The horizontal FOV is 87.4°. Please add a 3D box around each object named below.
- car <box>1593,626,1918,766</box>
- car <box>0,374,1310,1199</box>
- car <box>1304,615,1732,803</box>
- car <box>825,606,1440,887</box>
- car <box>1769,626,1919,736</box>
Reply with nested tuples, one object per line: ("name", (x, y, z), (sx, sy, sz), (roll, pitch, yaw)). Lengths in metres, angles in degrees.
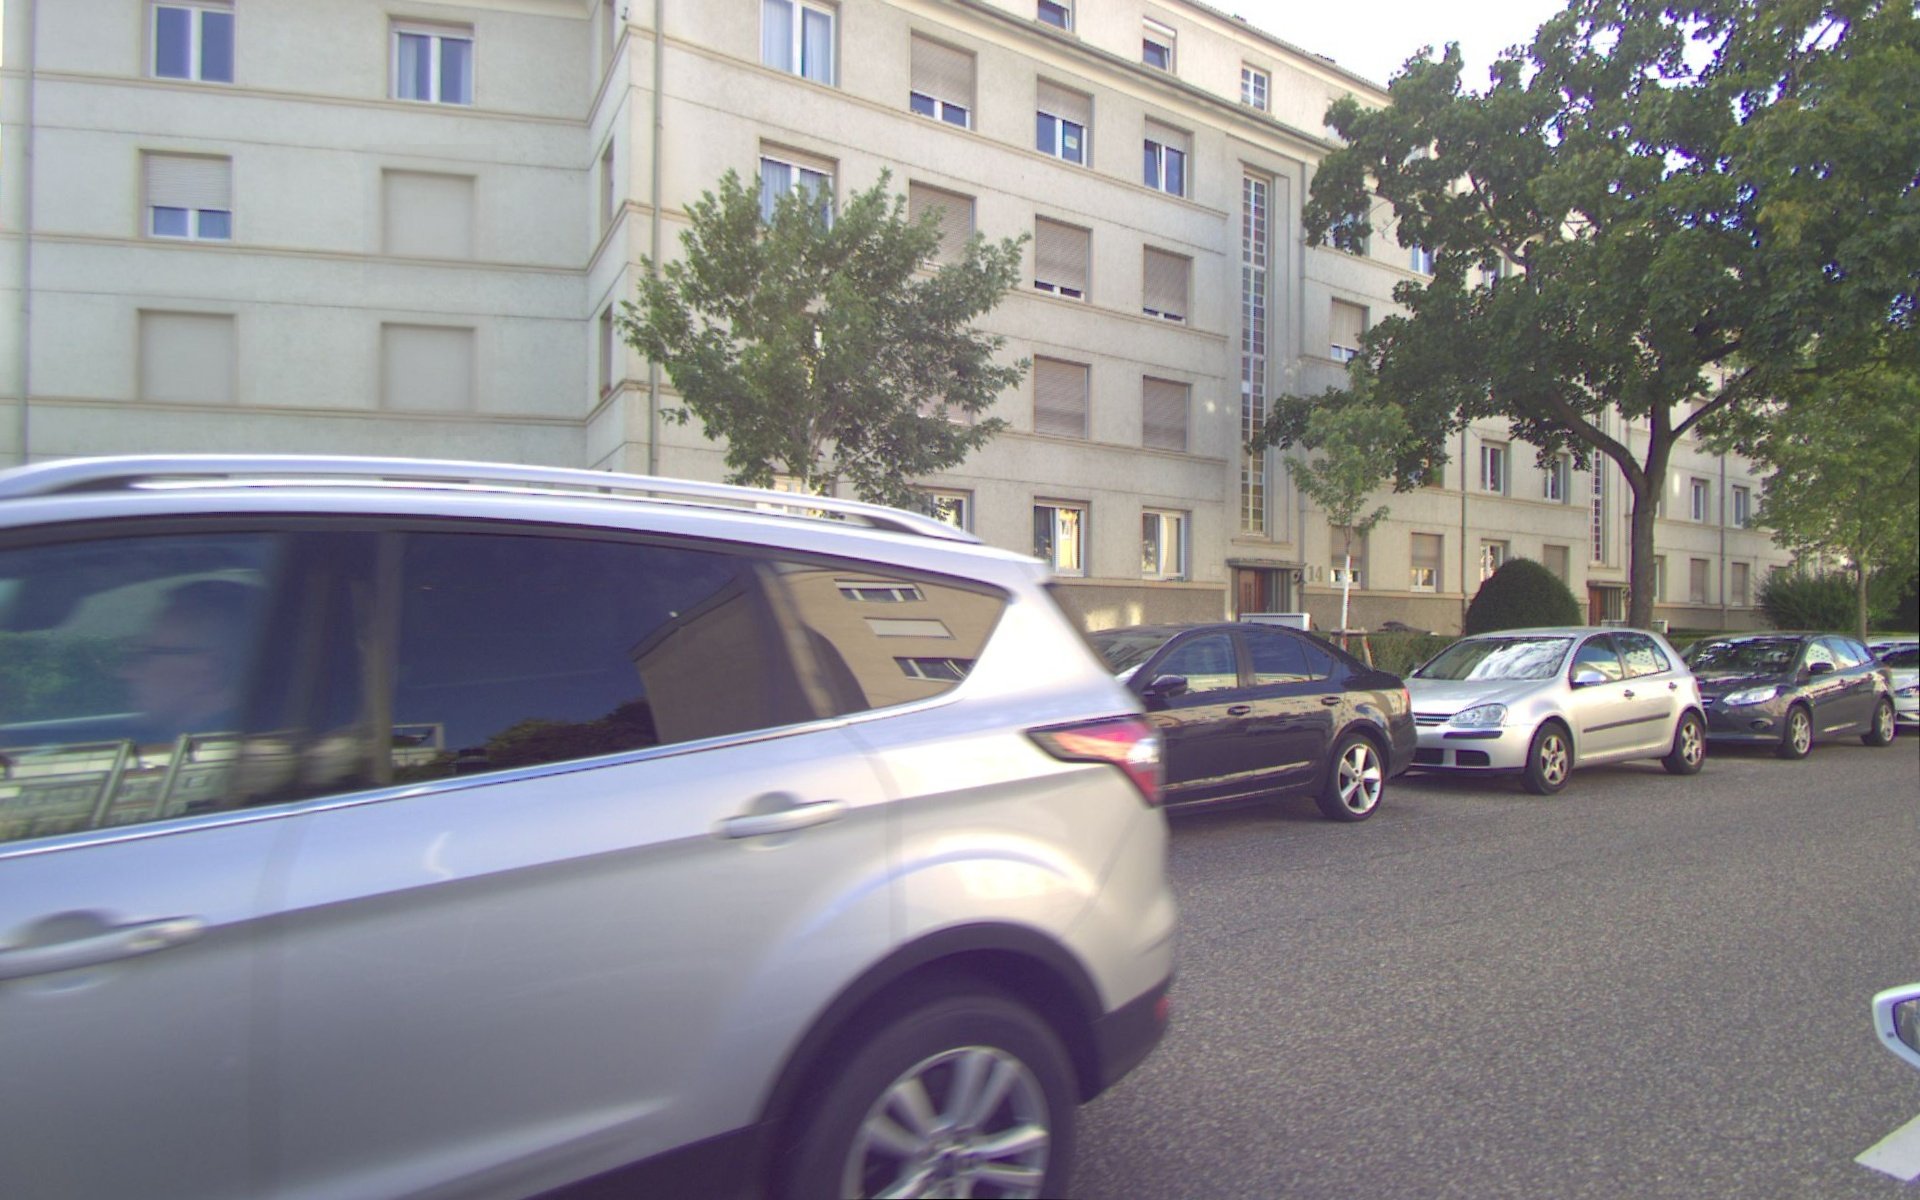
("car", (10.309, 1.103, 12.928), (4.631, 1.505, 1.845), (1, -1, -32))
("car", (-1.363, 0.557, 2.158), (4.038, 1.691, 1.820), (1, 1, -31))
("car", (5.608, 0.951, 9.975), (4.319, 1.505, 1.811), (1, -3, -31))
("car", (1.390, 0.870, 7.429), (4.374, 1.505, 1.916), (1, -3, -33))
("car", (14.834, 1.211, 15.737), (4.744, 1.505, 1.846), (1, -4, -32))
